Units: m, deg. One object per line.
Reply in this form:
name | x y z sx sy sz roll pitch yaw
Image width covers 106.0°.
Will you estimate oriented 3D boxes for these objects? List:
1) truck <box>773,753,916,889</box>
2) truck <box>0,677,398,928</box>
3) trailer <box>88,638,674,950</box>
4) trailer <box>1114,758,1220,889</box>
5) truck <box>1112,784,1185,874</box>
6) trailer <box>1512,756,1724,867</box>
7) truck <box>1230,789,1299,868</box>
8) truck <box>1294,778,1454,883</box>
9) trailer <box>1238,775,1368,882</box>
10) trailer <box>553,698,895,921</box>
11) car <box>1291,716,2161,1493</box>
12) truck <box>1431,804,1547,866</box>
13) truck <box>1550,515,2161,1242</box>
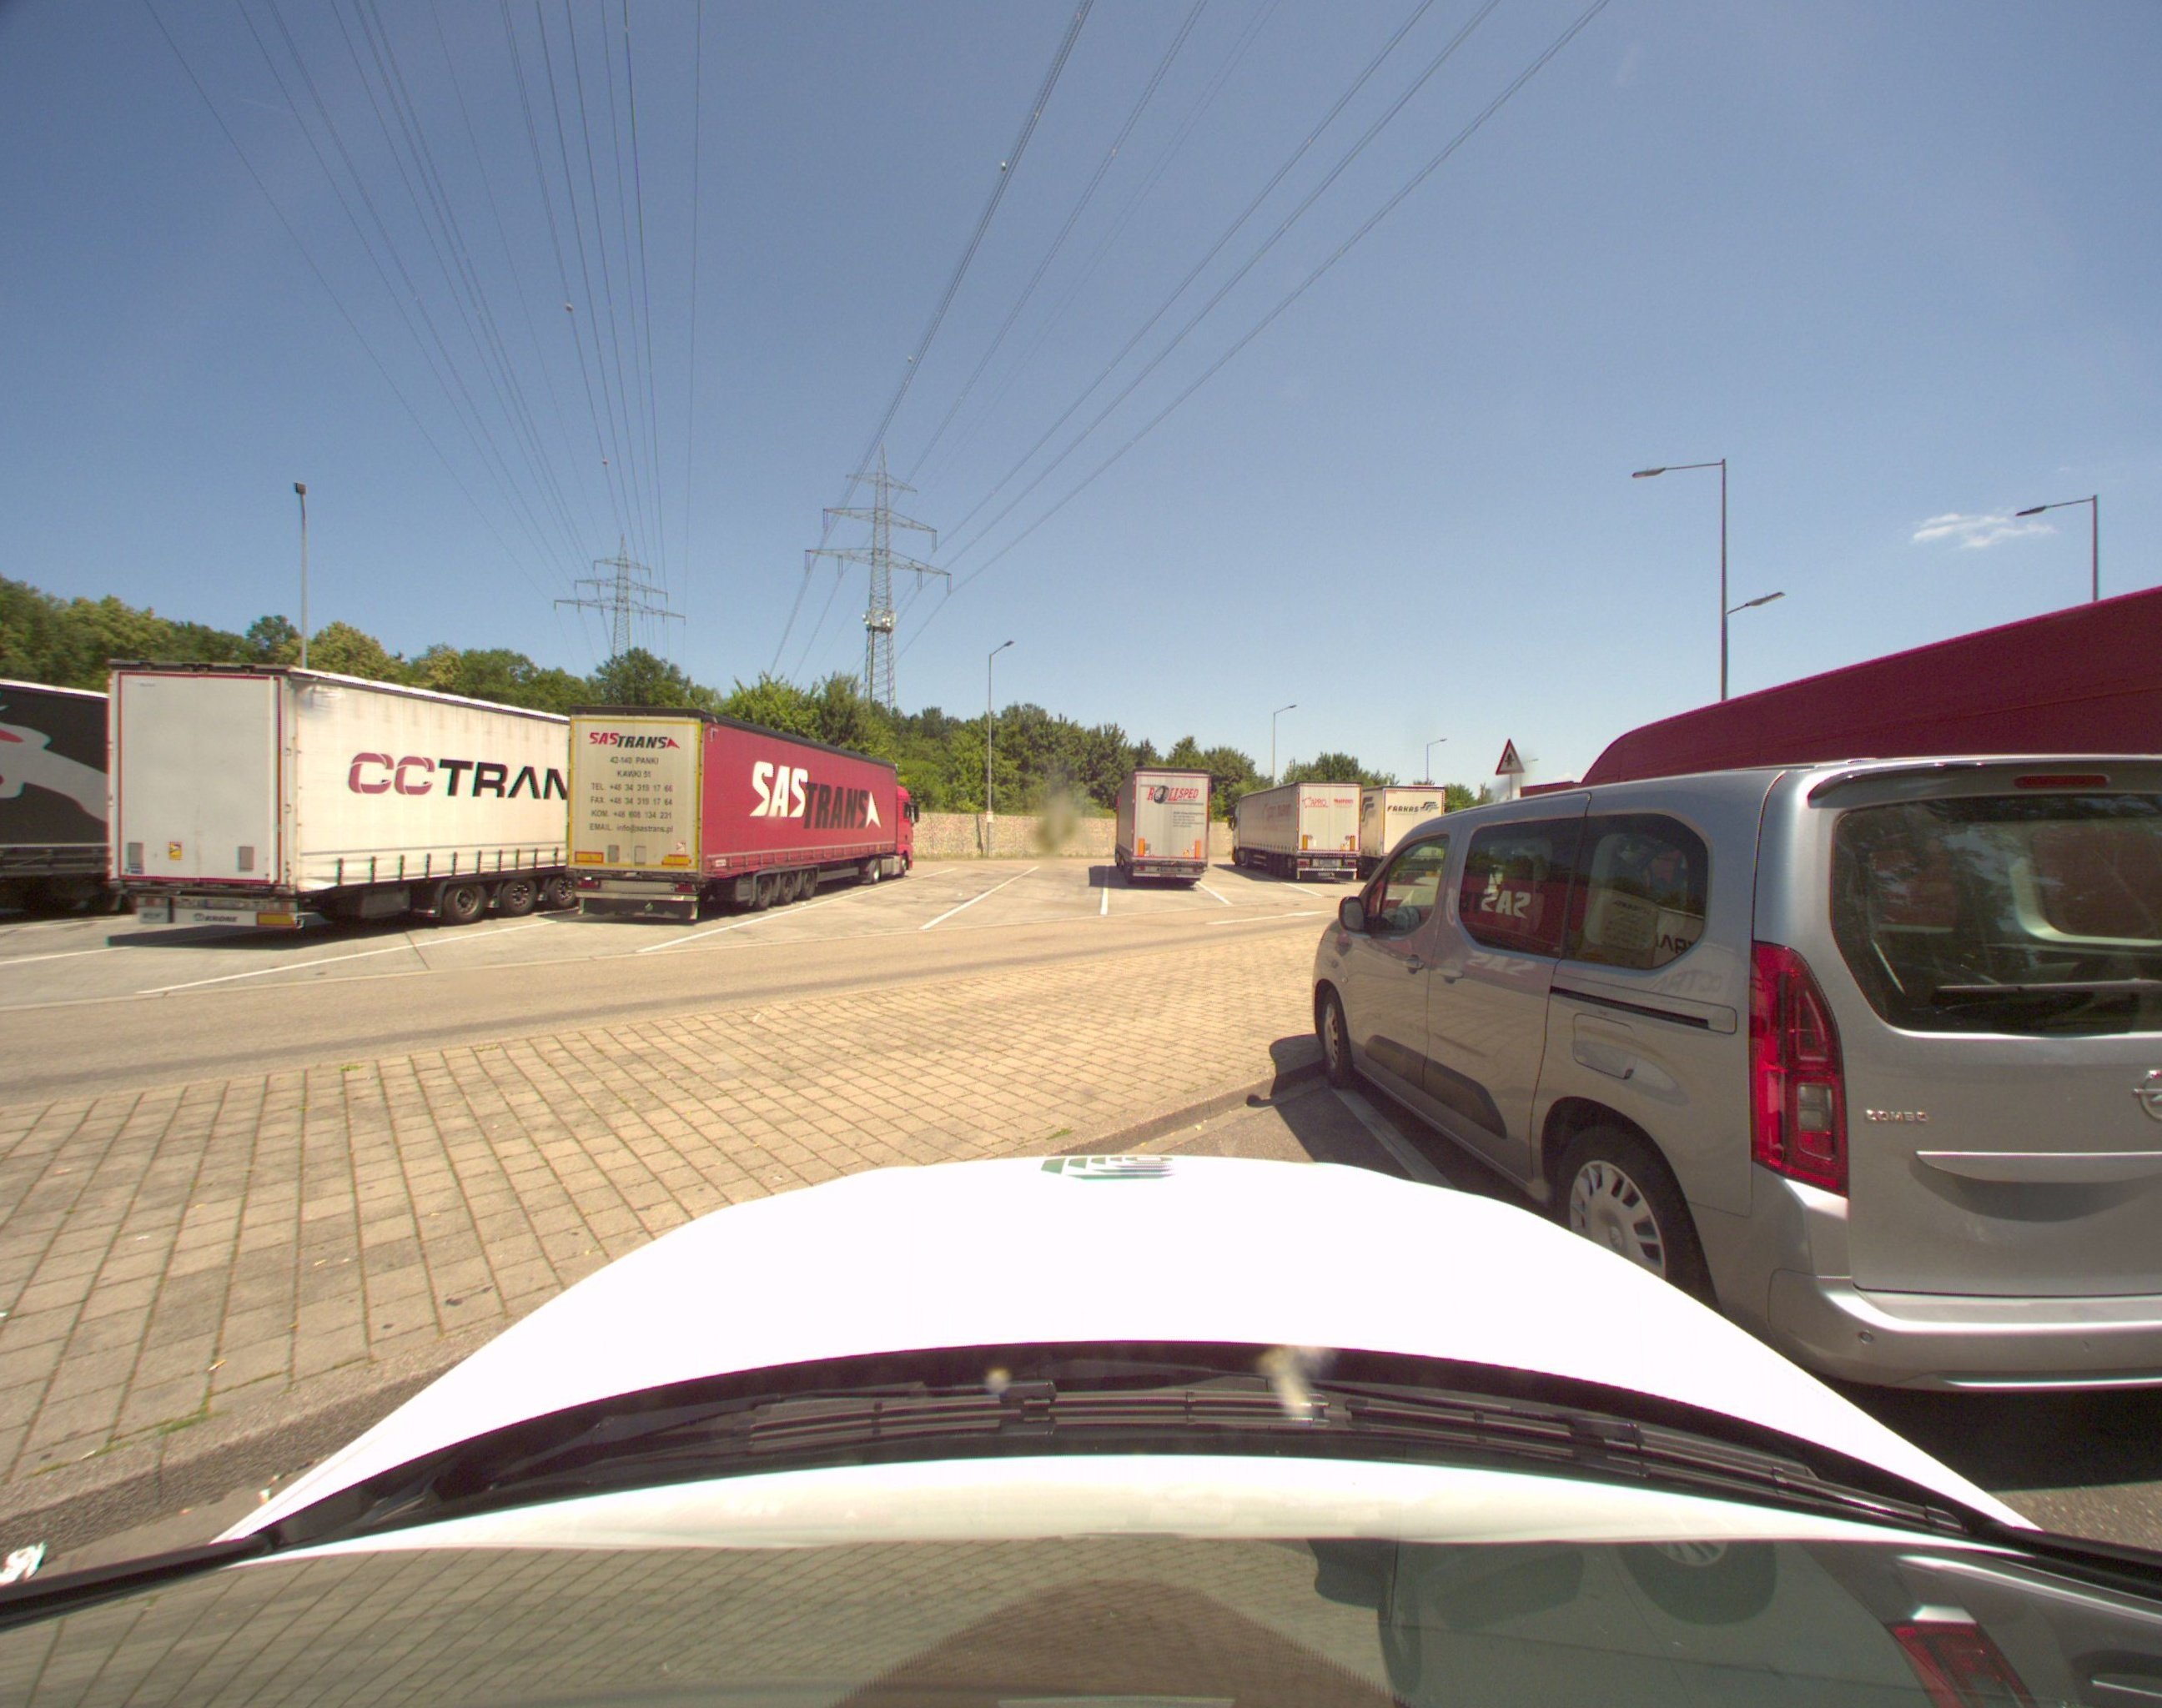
truck | -7.837 -1.052 28.036 2.733 4.081 6.832 -1 1 1
truck | -18.508 -0.855 15.986 2.627 4.018 8.640 -1 1 2
trailer | -12.096 -0.895 16.093 2.734 4.263 9.740 -1 1 3
trailer | 3.047 -1.190 32.761 3.059 4.227 12.811 1 2 1
truck | 3.128 -1.225 39.533 3.016 3.928 6.848 1 2 1
trailer | 22.419 -1.697 33.968 8.687 4.257 2.824 -1 0 -21
truck | 10.128 -1.398 45.435 2.747 4.124 5.286 -1 1 2
truck | 13.576 -1.062 39.677 2.894 4.124 14.533 2 1 2
trailer | 9.941 -1.107 38.432 2.865 4.124 13.577 0 1 2
trailer | -8.044 -0.918 21.532 2.739 4.057 13.292 -1 1 2
car | 2.474 0.530 3.873 1.821 1.753 3.998 -1 1 -2
truck | 24.462 -1.135 49.460 3.013 3.437 8.534 -1 1 2
truck | 5.104 0.050 4.895 1.983 2.623 5.312 -1 1 6
